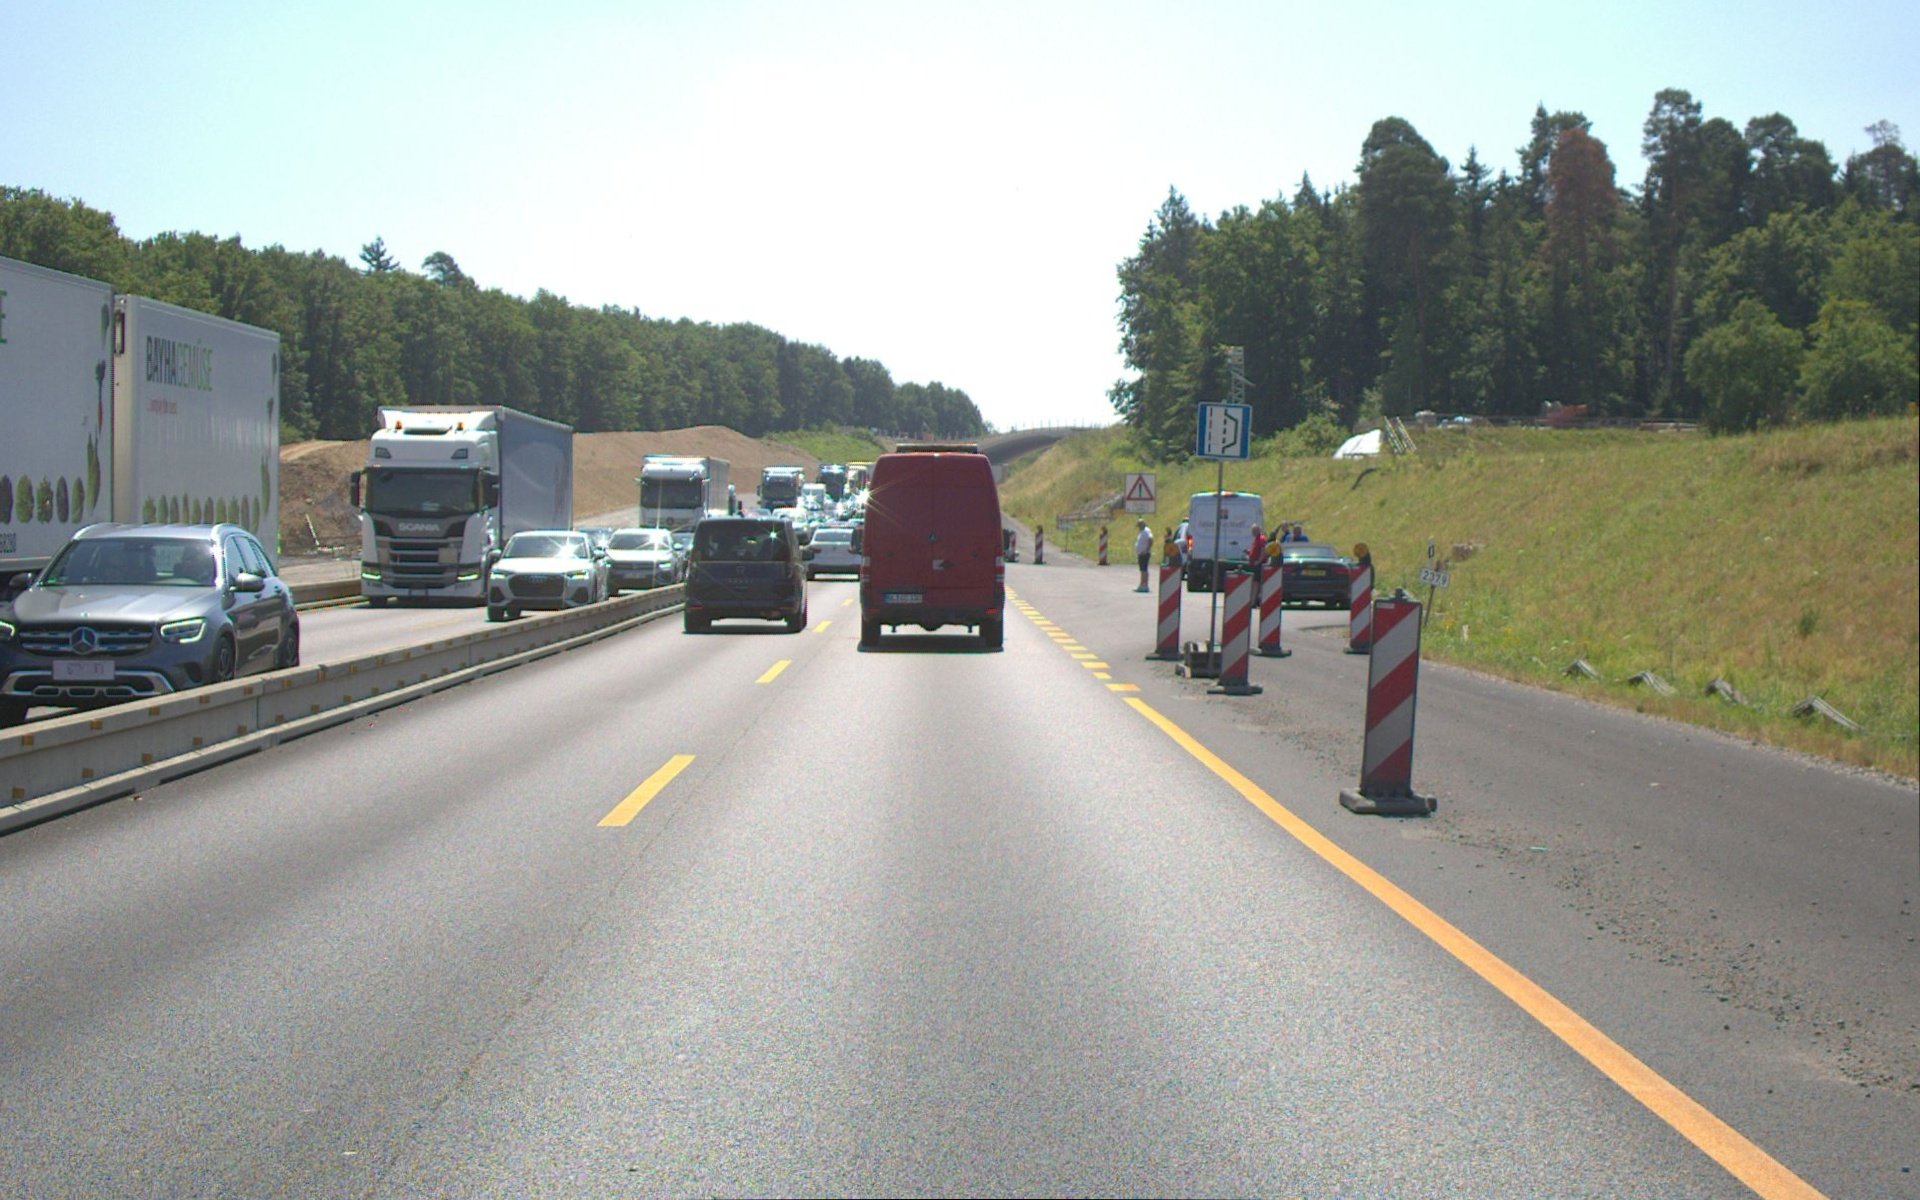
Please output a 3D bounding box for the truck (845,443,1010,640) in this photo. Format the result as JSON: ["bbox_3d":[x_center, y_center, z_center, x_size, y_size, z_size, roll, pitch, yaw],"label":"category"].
[{"bbox_3d":[-0.466,-0.805,48.438,2.153,2.581,5.333,1,0,-1],"label":"truck"}]

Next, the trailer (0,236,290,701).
[{"bbox_3d":[-9.849,-1.260,36.190,2.502,4.165,15.534,-1,1,0],"label":"trailer"}]

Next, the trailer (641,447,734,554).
[{"bbox_3d":[-10.952,-4.020,139.444,2.790,4.061,13.712,1,1,-1],"label":"trailer"}]

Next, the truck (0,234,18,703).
[{"bbox_3d":[-9.819,-1.108,28.067,2.491,4.184,5.912,-1,1,1],"label":"truck"}]

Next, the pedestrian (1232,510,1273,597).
[{"bbox_3d":[6.149,-0.981,72.373,0.640,1.822,0.559,1,2,-21],"label":"pedestrian"}]

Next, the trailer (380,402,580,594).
[{"bbox_3d":[-10.696,-2.238,78.069,2.653,3.925,13.997,1,1,-1],"label":"trailer"}]

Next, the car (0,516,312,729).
[{"bbox_3d":[-6.668,0.153,28.697,1.688,1.608,4.594,1,0,-1],"label":"car"}]

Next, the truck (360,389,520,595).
[{"bbox_3d":[-10.638,-2.190,70.710,2.591,4.039,5.150,1,1,-1],"label":"truck"}]

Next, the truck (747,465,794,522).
[{"bbox_3d":[-12.867,-7.183,233.979,2.509,3.604,9.641,1,0,0],"label":"truck"}]

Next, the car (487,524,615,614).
[{"bbox_3d":[-7.125,-0.541,60.222,1.807,1.483,4.243,1,0,-1],"label":"car"}]

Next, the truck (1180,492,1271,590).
[{"bbox_3d":[7.041,-1.589,90.770,2.130,2.448,5.924,1,2,6],"label":"truck"}]

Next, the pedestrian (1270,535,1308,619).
[{"bbox_3d":[7.237,-0.513,75.609,0.624,1.822,0.643,1,1,-12],"label":"pedestrian"}]

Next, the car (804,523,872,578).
[{"bbox_3d":[-3.521,-1.423,99.629,1.831,1.517,3.961,1,0,0],"label":"car"}]

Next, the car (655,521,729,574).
[{"bbox_3d":[-7.325,-1.422,94.396,1.729,1.382,4.861,1,0,-1],"label":"car"}]

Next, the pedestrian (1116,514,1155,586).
[{"bbox_3d":[4.445,-1.269,87.212,0.723,1.822,0.720,1,0,-23],"label":"pedestrian"}]

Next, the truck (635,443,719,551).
[{"bbox_3d":[-10.892,-3.933,132.599,2.768,4.030,4.943,1,0,0],"label":"truck"}]

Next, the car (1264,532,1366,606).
[{"bbox_3d":[7.479,-0.680,72.733,1.654,1.422,4.545,-2,2,0],"label":"car"}]

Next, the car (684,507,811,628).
[{"bbox_3d":[-3.341,-0.555,54.753,1.751,1.818,4.783,1,1,0],"label":"car"}]

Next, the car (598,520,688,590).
[{"bbox_3d":[-7.366,-1.066,80.094,1.775,1.549,4.140,-2,1,-1],"label":"car"}]

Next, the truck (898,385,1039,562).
[{"bbox_3d":[0.205,-4.109,117.238,4.400,5.477,16.604,1,0,0],"label":"truck"}]

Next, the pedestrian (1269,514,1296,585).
[{"bbox_3d":[8.151,-1.278,86.841,0.563,1.789,0.667,1,0,-2],"label":"pedestrian"}]
